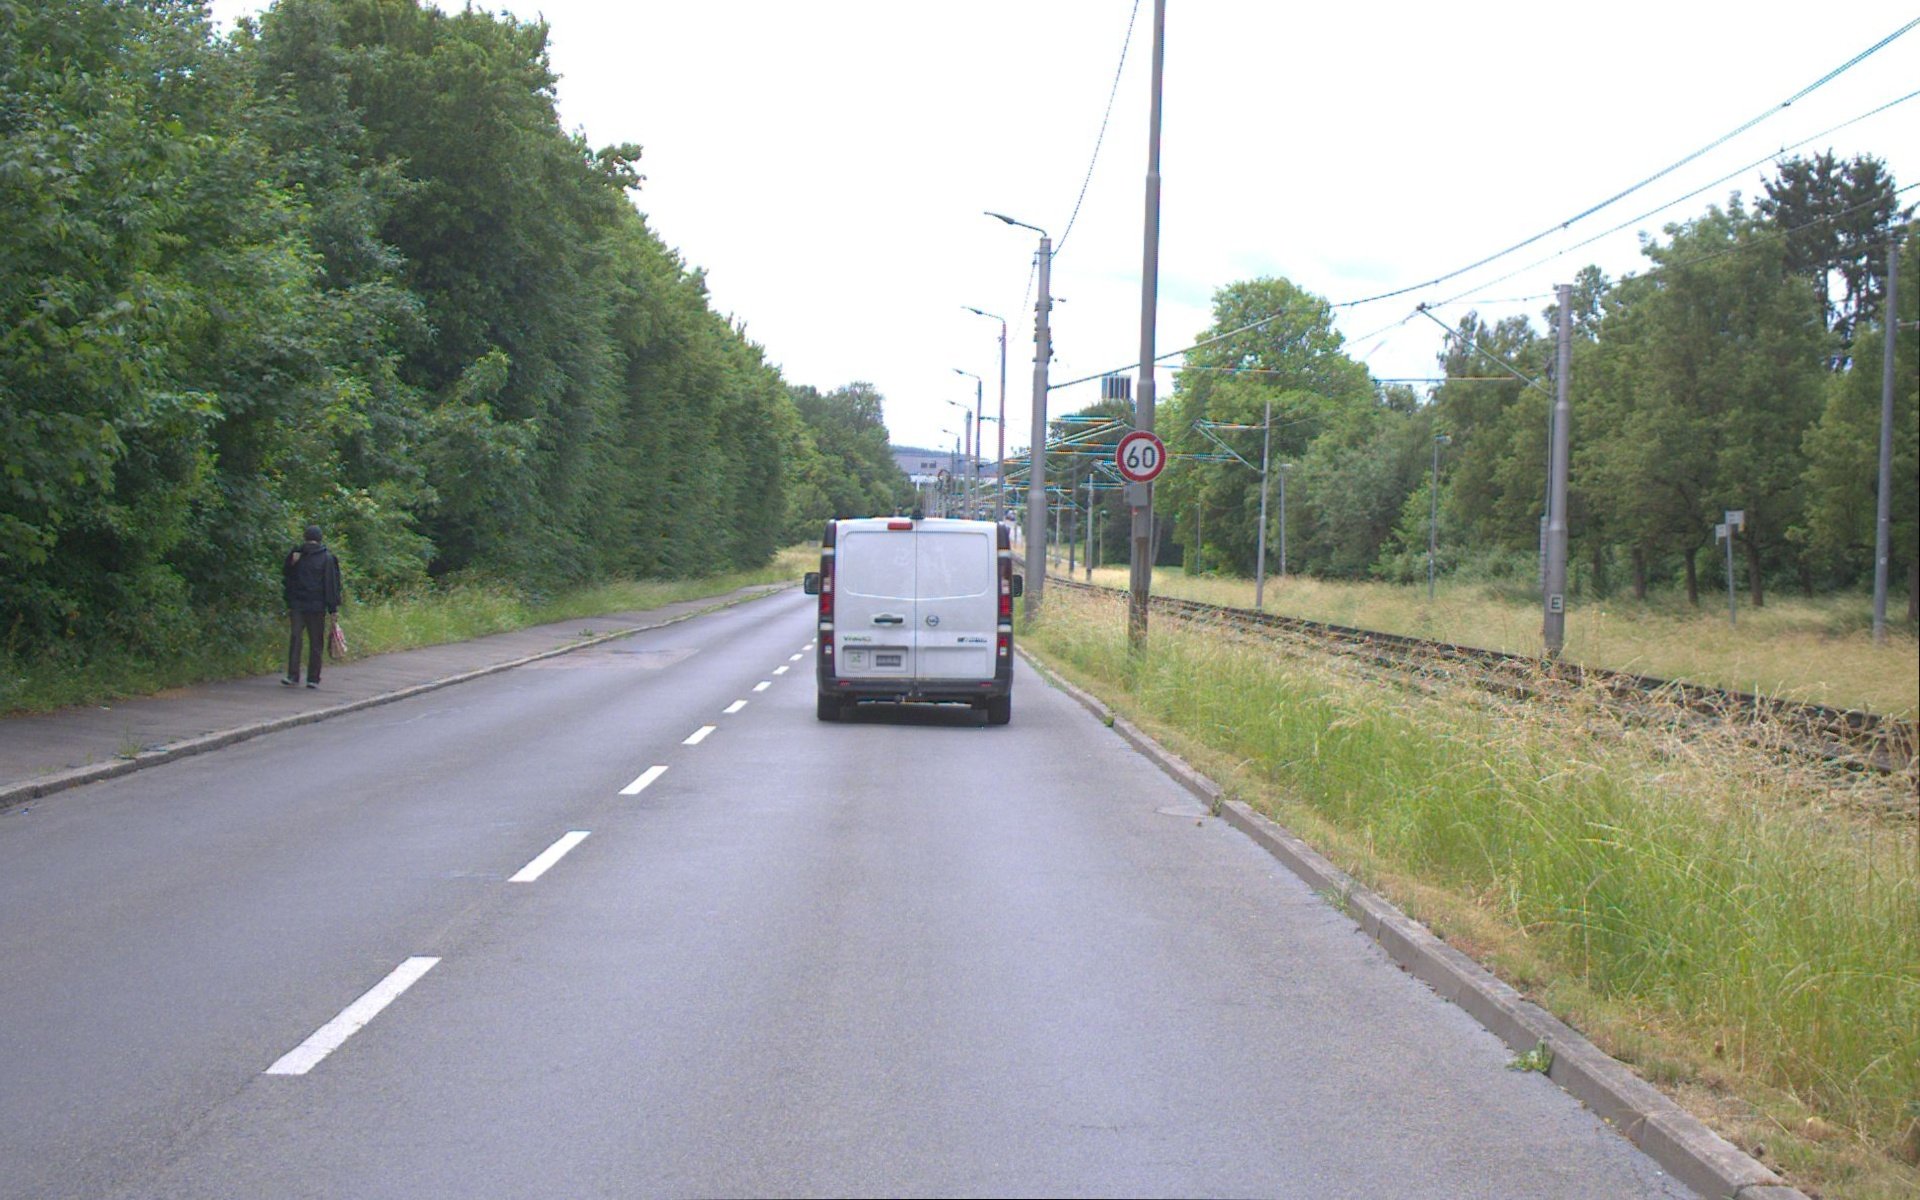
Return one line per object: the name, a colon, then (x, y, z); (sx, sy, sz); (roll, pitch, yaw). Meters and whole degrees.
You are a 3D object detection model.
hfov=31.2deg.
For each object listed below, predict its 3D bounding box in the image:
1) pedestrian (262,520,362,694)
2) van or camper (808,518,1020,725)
pedestrian: (-6.797, 0.064, 36.080); (0.867, 1.763, 0.789); (3, 1, -4)
van or camper: (-0.461, 0.181, 33.773); (1.942, 1.890, 4.285); (0, 0, -1)
